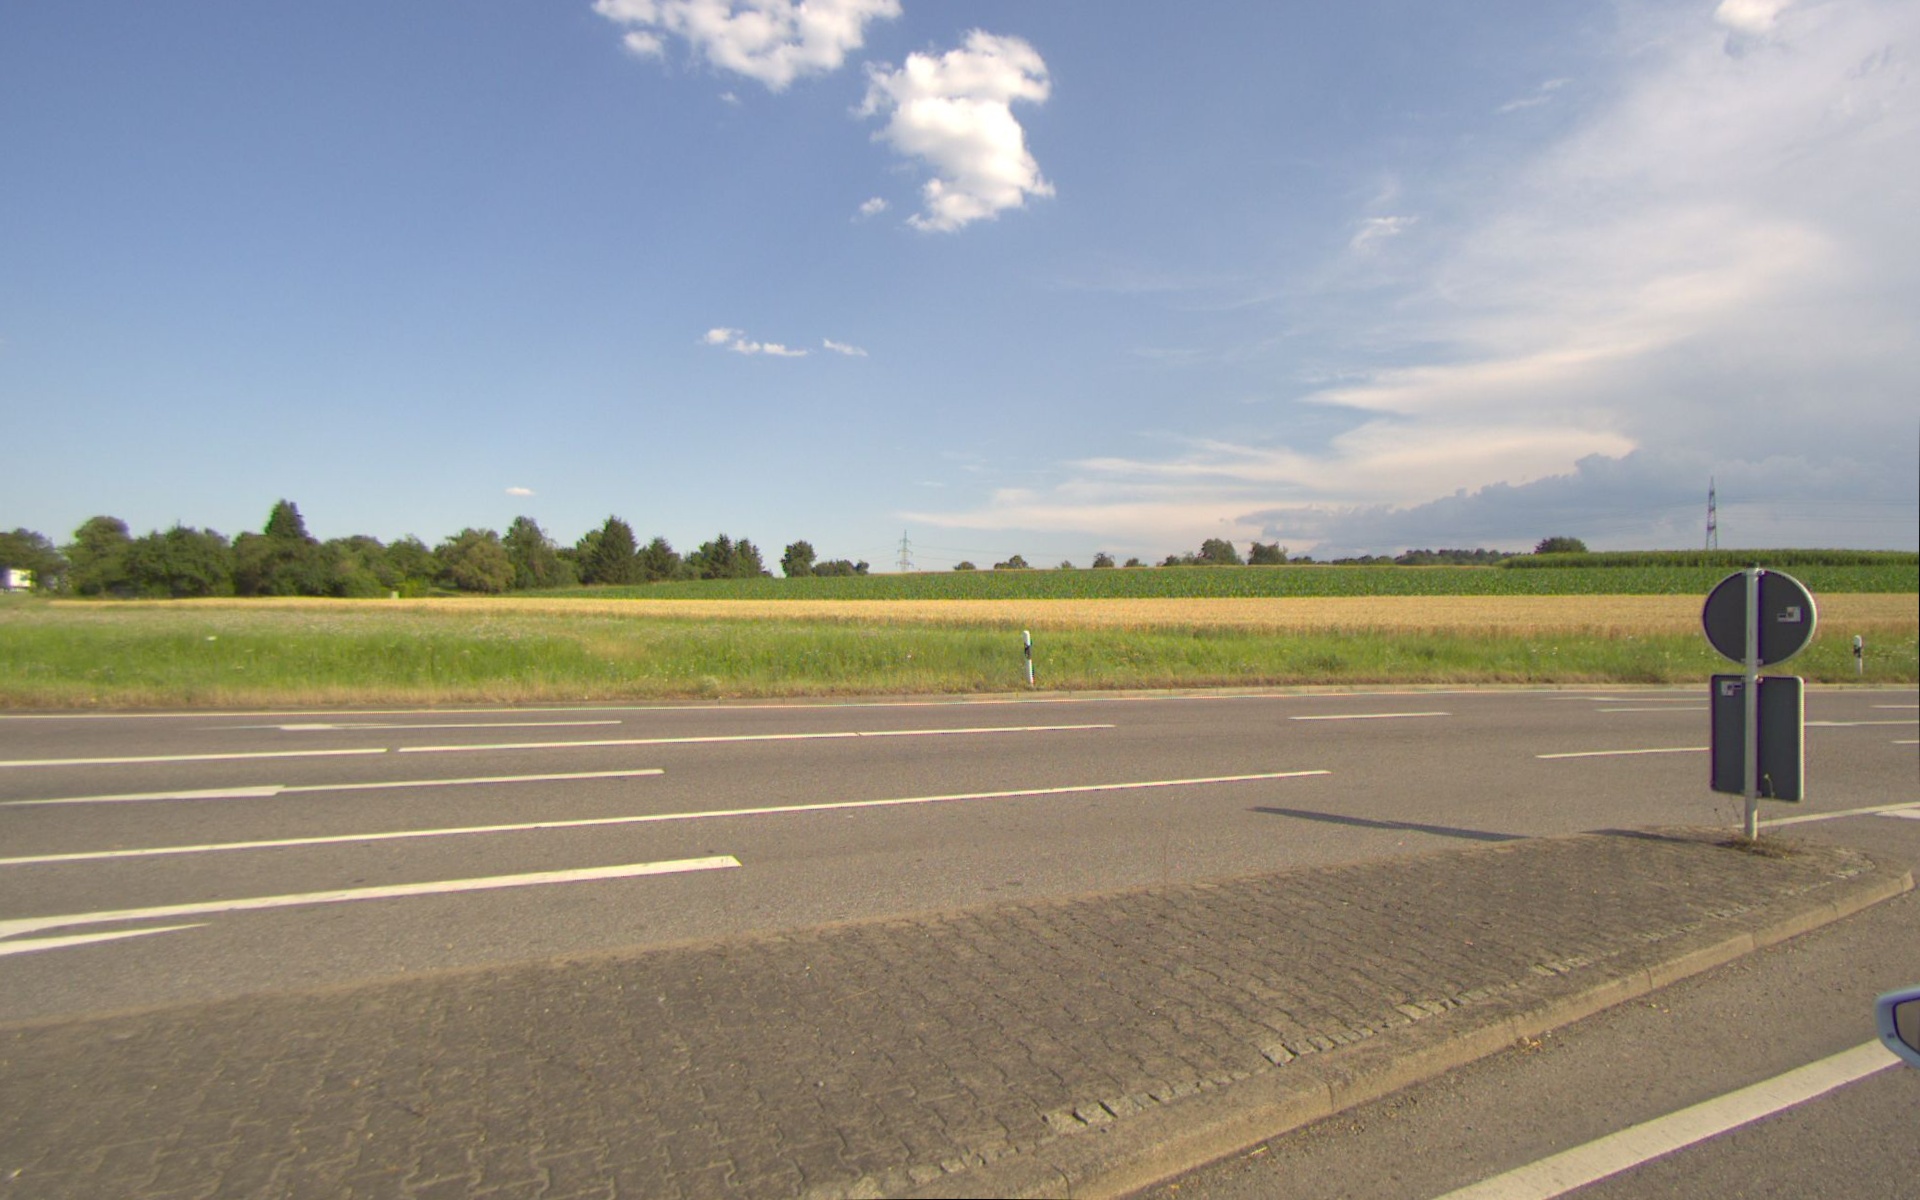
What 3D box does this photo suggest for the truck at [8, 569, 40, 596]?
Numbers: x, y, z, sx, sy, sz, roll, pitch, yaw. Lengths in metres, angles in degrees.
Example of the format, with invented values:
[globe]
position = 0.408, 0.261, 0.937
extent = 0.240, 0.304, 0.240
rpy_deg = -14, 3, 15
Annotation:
[truck]
position = -160.306, -2.977, 172.162
extent = 3.423, 4.557, 9.378
rpy_deg = 0, 1, -39
